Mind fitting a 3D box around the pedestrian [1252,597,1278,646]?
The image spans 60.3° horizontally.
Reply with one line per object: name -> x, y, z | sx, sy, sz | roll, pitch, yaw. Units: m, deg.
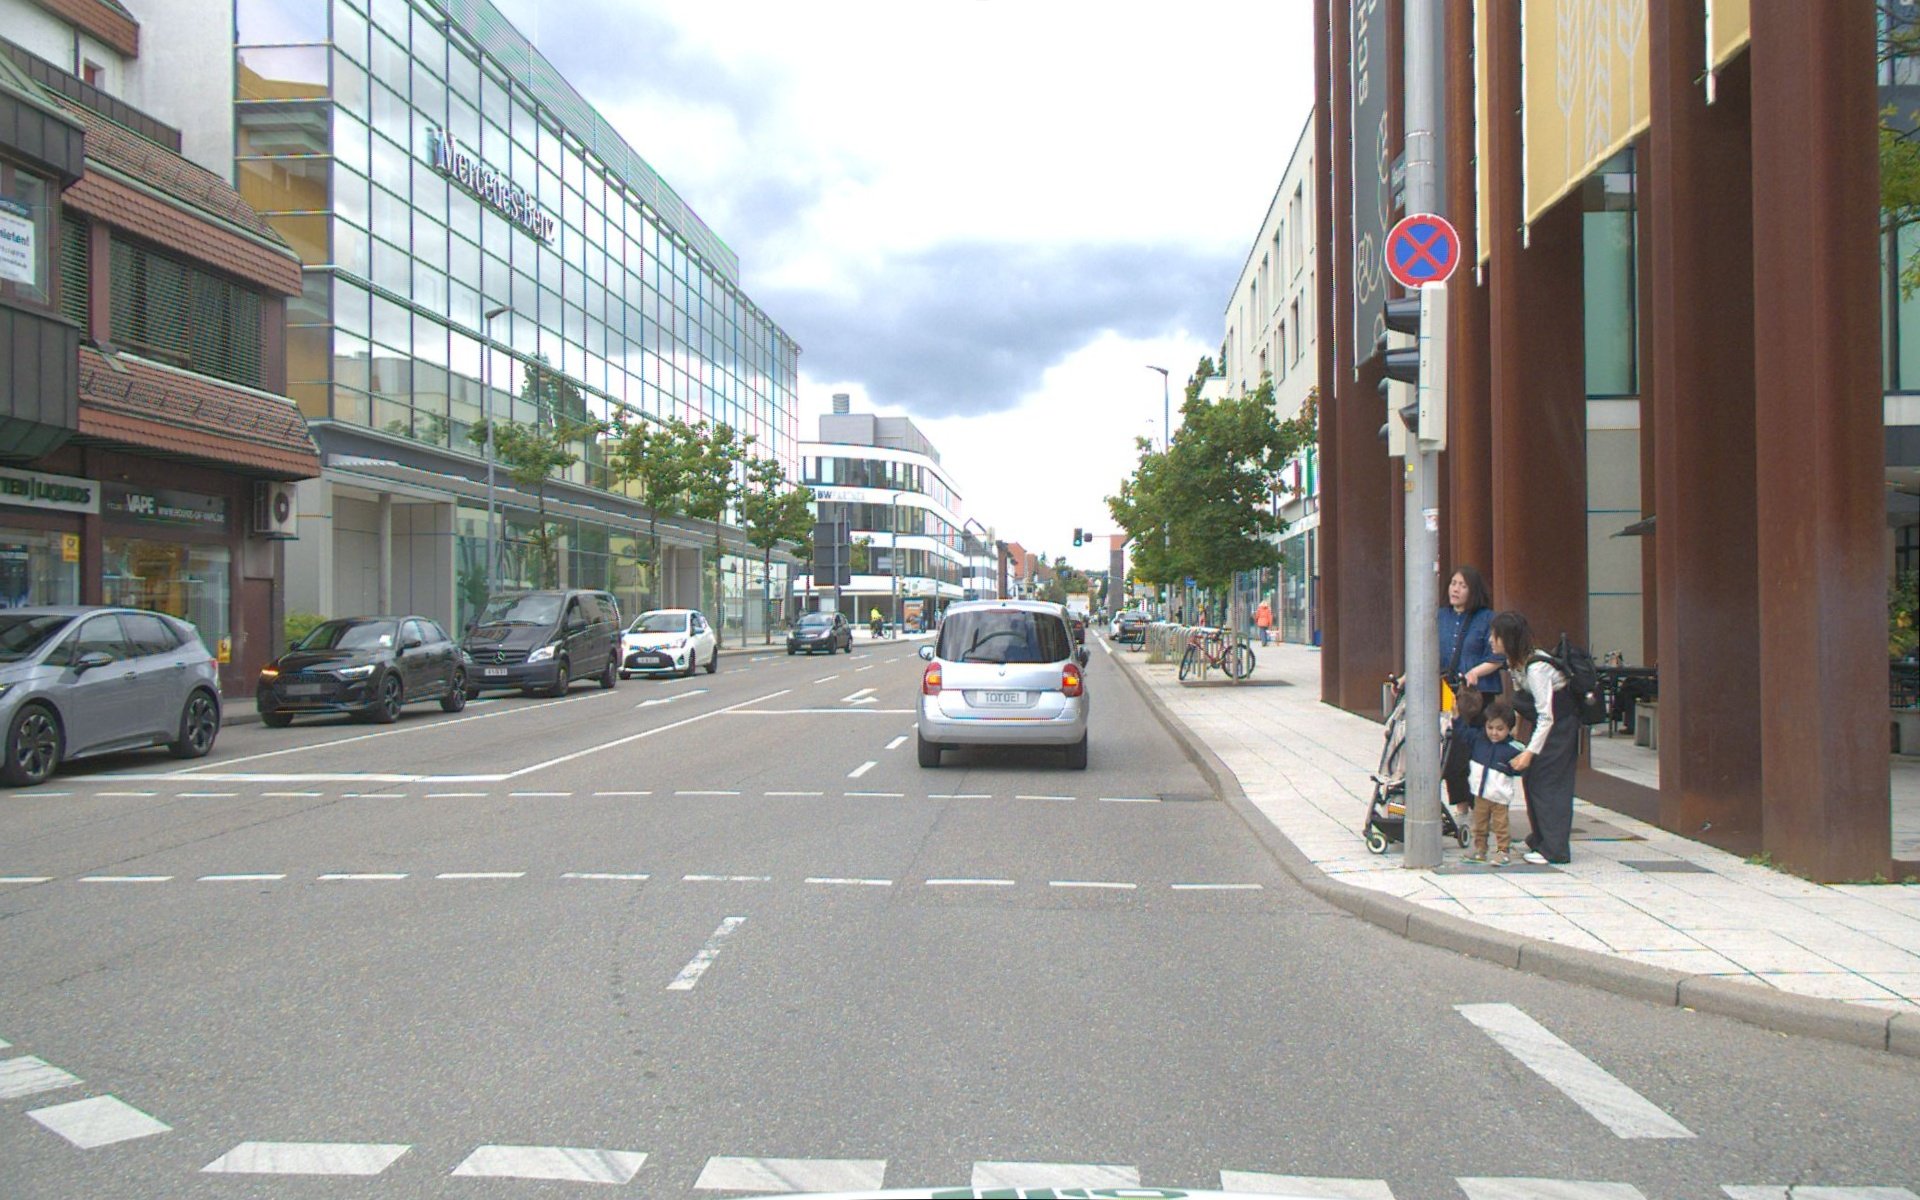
pedestrian -> 10.303, 0.734, 55.828 | 0.695, 1.602, 0.813 | -3, -1, 4

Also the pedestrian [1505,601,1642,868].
pedestrian -> 3.434, 0.730, 9.294 | 0.588, 1.445, 0.583 | 0, 0, 6

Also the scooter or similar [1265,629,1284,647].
scooter or similar -> 10.443, 1.251, 54.942 | 0.538, 0.555, 0.643 | -4, 0, 4

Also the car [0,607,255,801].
car -> -8.651, 0.894, 15.780 | 1.722, 1.543, 4.389 | -2, 0, 3

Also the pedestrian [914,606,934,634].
pedestrian -> -2.440, 1.340, 111.547 | 1.222, 1.865, 0.963 | -1, 0, -5

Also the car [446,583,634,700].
car -> -7.656, 0.717, 30.712 | 1.826, 1.943, 5.116 | -1, 0, 4

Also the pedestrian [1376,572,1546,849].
pedestrian -> 3.194, 0.665, 10.542 | 0.856, 1.675, 0.677 | 0, 0, 38

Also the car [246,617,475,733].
car -> -8.345, 0.985, 23.387 | 1.666, 1.468, 4.001 | 0, 0, 2

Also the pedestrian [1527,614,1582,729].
pedestrian -> 6.590, 0.784, 18.349 | 0.438, 1.241, 0.607 | 0, 0, 6

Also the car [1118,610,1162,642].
car -> 8.258, 1.157, 76.046 | 1.838, 1.358, 4.002 | 2, 0, 4

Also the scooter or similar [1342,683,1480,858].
scooter or similar -> 2.743, 1.013, 10.049 | 0.622, 0.978, 0.618 | -1, 0, 37

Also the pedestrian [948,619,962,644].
pedestrian -> -0.406, 2.465, 129.661 | 0.940, 1.865, 1.251 | -1, 0, 4

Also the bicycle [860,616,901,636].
bicycle -> -4.439, 1.438, 91.779 | 0.995, 1.036, 3.099 | 2, -1, -29

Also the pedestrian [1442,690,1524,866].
pedestrian -> 2.946, 0.993, 9.329 | 0.354, 0.940, 0.455 | 0, 0, 6

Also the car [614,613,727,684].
car -> -6.618, 1.080, 38.169 | 1.625, 1.491, 4.002 | -1, 0, 4

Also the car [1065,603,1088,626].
car -> 10.993, 1.361, 156.178 | 2.124, 2.049, 4.260 | -1, 0, 4

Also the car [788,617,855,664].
car -> -4.832, 1.404, 58.077 | 1.625, 1.506, 4.003 | -1, 0, 5

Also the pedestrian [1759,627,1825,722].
pedestrian -> 11.245, 0.997, 22.371 | 0.504, 1.229, 0.796 | 0, 1, 2

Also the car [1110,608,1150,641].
car -> 8.426, 1.208, 82.430 | 1.838, 1.535, 4.002 | 2, 0, 4

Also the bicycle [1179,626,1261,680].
bicycle -> 5.018, 1.019, 31.958 | 1.527, 1.010, 0.753 | -1, 0, 7

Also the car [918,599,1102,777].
car -> 0.512, 0.803, 16.904 | 1.635, 1.581, 3.643 | 2, 0, 2

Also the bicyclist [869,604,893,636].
bicyclist -> -4.373, 1.113, 91.688 | 0.995, 1.689, 0.923 | 2, -1, -30

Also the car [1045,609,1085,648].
car -> 4.610, 1.214, 72.095 | 1.634, 1.581, 3.644 | 2, 0, 5

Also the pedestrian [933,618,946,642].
pedestrian -> -1.610, 2.349, 131.188 | 0.940, 1.865, 1.251 | -1, 0, 4

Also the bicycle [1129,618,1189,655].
bicycle -> 6.238, 1.148, 51.893 | 1.787, 1.093, 0.752 | -2, 0, 2

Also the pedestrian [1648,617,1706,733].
pedestrian -> 7.880, 0.816, 18.188 | 0.438, 1.241, 0.607 | 0, 0, 8
